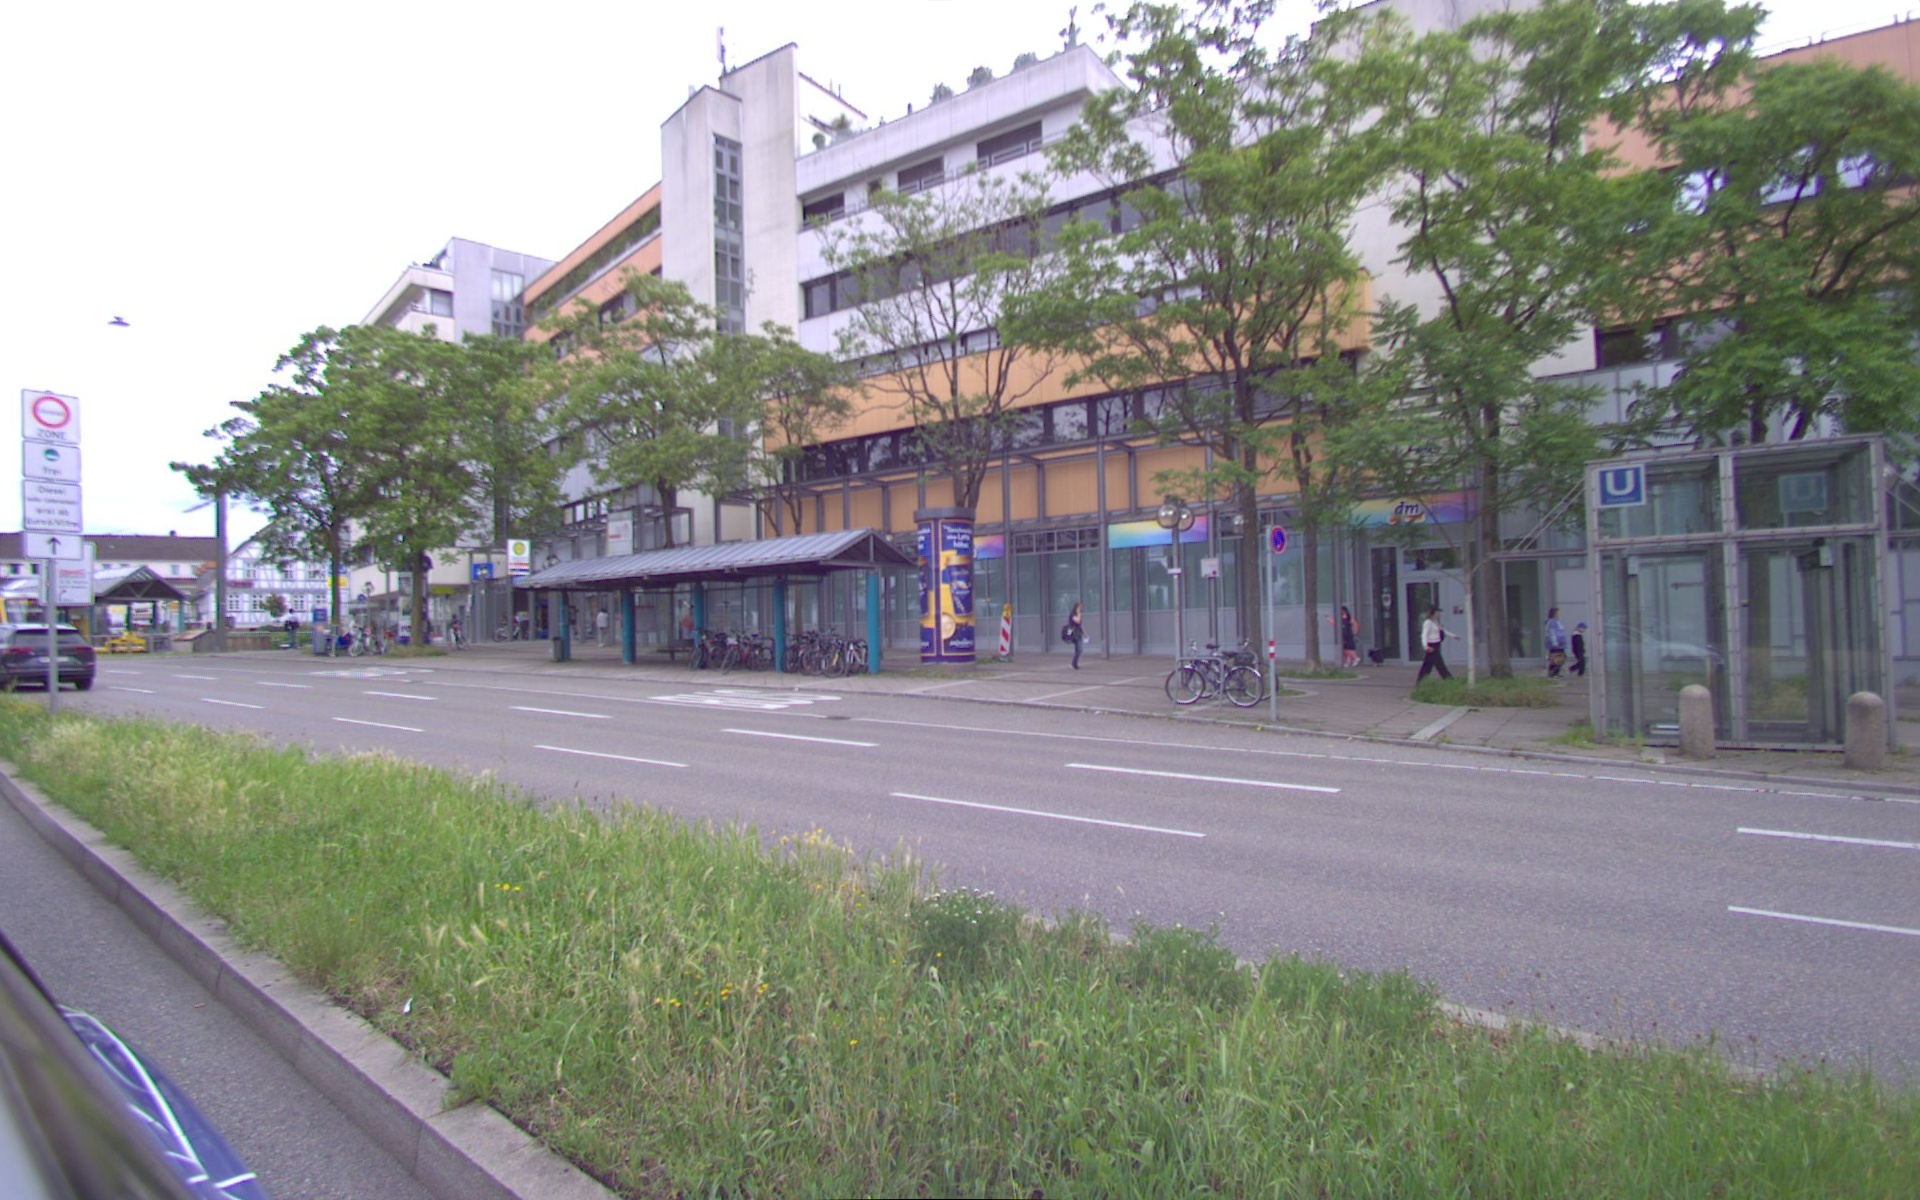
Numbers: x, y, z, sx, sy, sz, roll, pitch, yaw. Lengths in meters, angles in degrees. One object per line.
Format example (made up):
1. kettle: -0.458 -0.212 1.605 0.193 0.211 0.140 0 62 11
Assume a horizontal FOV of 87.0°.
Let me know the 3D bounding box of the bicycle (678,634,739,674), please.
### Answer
1. bicycle: -7.231 1.536 29.157 0.549 1.048 1.714 -2 0 38

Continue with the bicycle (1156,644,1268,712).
1. bicycle: 4.369 1.325 17.606 0.802 1.068 1.739 0 -1 -40

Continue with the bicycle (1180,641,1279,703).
1. bicycle: 4.985 1.314 18.797 1.737 1.074 0.542 -2 -1 45

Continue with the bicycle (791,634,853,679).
1. bicycle: -3.612 1.459 26.601 0.549 1.048 1.714 -2 0 38

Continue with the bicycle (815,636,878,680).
1. bicycle: -2.902 1.475 26.068 0.549 1.048 1.714 -2 0 38

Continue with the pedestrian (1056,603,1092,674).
1. pedestrian: 2.960 0.993 26.229 0.769 1.800 0.525 -1 -2 33

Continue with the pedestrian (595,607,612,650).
1. pedestrian: -15.469 1.243 43.916 0.639 1.823 0.761 0 -2 -16

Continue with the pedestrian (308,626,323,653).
1. pedestrian: -38.488 2.350 60.450 0.581 1.554 0.570 -1 -2 32

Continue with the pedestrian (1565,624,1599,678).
1. pedestrian: 13.858 1.128 22.569 0.620 1.190 0.418 -1 -2 31

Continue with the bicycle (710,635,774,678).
1. bicycle: -5.958 1.530 27.730 0.549 1.048 1.714 -2 1 38

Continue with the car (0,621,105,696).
1. car: -20.718 1.226 22.351 4.277 1.492 1.695 0 -2 35

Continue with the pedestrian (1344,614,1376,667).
1. pedestrian: 10.706 1.072 27.095 0.694 1.385 0.578 -1 -2 34

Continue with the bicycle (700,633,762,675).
1. bicycle: -6.453 1.513 28.592 0.549 1.048 1.714 -2 1 38

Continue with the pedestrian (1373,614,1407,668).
1. pedestrian: 11.277 1.065 26.538 0.694 1.385 0.578 -1 -2 34

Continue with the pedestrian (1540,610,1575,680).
1. pedestrian: 13.091 0.976 22.177 0.620 1.515 0.563 -1 -2 31

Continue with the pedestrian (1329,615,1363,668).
1. pedestrian: 10.142 1.080 26.583 0.694 1.385 0.578 -1 -2 34

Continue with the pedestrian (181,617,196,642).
1. pedestrian: -62.539 2.374 82.022 0.867 2.029 1.010 1 -2 -44

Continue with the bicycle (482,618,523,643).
1. bicycle: -26.091 1.736 57.777 2.106 1.377 0.621 -1 0 -24

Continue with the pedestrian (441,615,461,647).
1. pedestrian: -27.375 1.684 54.445 0.752 1.695 0.755 -1 -2 41

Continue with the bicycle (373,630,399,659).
1. bicycle: -22.743 1.754 40.120 0.584 1.085 2.044 0 -1 -21

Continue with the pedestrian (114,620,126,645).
1. pedestrian: -69.122 2.640 83.248 0.731 2.029 0.940 1 -2 -39

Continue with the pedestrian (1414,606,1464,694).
1. pedestrian: 9.328 0.952 19.706 0.721 1.662 0.669 -1 -1 37

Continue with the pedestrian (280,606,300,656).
1. pedestrian: -31.341 1.457 47.351 0.608 2.325 0.583 -1 -2 39

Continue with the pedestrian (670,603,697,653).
1. pedestrian: -11.292 1.127 41.353 0.792 2.029 0.702 -1 0 34

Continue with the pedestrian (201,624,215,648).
1. pedestrian: -50.070 2.395 67.351 0.581 1.554 0.570 -1 -2 32

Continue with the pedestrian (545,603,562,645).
1. pedestrian: -19.679 1.149 49.033 0.558 2.029 0.611 1 -2 -44

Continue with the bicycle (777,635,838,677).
1. bicycle: -4.136 1.515 27.569 0.549 1.048 1.714 -2 -1 38

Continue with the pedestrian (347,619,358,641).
1. pedestrian: -40.184 1.982 66.905 0.548 1.506 0.454 1 -2 -41

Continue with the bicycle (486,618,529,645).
1. bicycle: -24.942 1.726 55.799 2.107 1.385 0.621 -1 0 -31

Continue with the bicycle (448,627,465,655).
1. bicycle: -21.348 1.708 42.939 0.584 1.134 2.044 1 -1 -26

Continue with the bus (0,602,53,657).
1. bus: -55.976 1.685 58.630 8.470 3.006 2.530 -1 -2 29

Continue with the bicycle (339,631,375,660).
1. bicycle: -23.610 1.767 39.662 0.585 1.085 2.042 0 -1 -12
